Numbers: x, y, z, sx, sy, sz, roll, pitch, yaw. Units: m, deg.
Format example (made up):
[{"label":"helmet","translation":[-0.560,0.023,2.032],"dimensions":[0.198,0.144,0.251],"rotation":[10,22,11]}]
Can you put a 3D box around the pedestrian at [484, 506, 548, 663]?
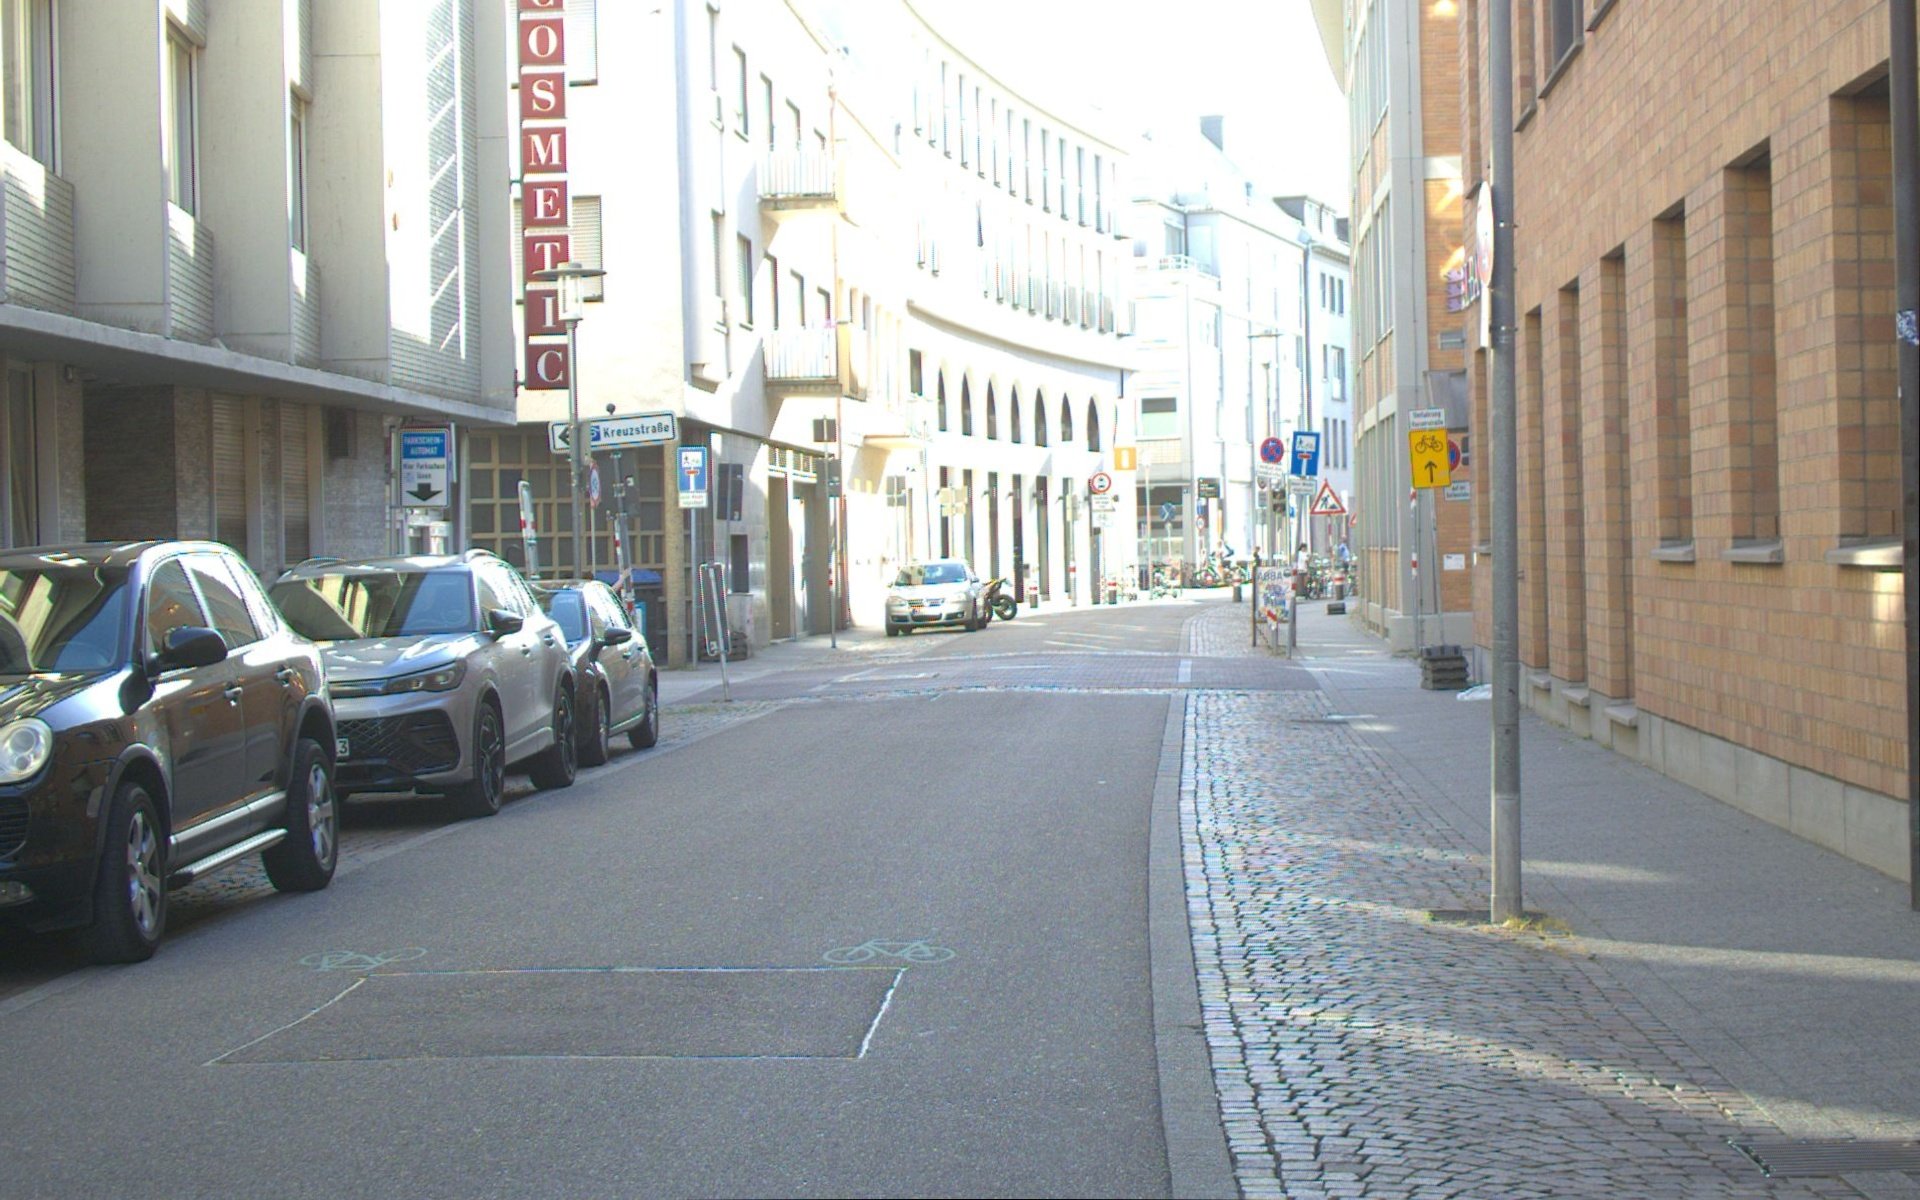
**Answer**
[{"label":"pedestrian","translation":[-4.957,-0.175,38.394],"dimensions":[0.448,1.732,0.552],"rotation":[0,1,27]}]

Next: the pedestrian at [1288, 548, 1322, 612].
[{"label":"pedestrian","translation":[10.048,-0.591,100.212],"dimensions":[0.659,1.862,0.786],"rotation":[1,0,-26]}]

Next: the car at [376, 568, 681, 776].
[{"label":"car","translation":[-3.440,0.529,28.074],"dimensions":[1.648,1.455,3.998],"rotation":[-4,1,4]}]

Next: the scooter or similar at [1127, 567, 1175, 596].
[{"label":"scooter or similar","translation":[6.300,-0.607,113.488],"dimensions":[0.526,0.925,2.223],"rotation":[1,1,34]}]

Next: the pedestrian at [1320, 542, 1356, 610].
[{"label":"pedestrian","translation":[10.459,-0.666,95.122],"dimensions":[0.659,1.862,0.761],"rotation":[1,0,-26]}]

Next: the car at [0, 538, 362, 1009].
[{"label":"car","translation":[-4.043,0.604,14.639],"dimensions":[1.890,1.670,4.553],"rotation":[-2,1,4]}]

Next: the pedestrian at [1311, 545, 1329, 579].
[{"label":"pedestrian","translation":[14.843,-1.577,141.622],"dimensions":[0.498,1.414,0.623],"rotation":[-1,1,-22]}]

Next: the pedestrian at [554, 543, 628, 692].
[{"label":"pedestrian","translation":[-4.061,0.189,37.852],"dimensions":[0.645,1.620,0.457],"rotation":[-1,1,-37]}]

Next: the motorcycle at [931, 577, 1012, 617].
[{"label":"motorcycle","translation":[0.256,-0.069,75.120],"dimensions":[1.692,0.856,0.594],"rotation":[1,0,9]}]

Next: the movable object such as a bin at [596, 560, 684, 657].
[{"label":"movable object such as a bin","translation":[-4.738,0.124,50.940],"dimensions":[0.931,1.415,0.884],"rotation":[1,0,-43]}]

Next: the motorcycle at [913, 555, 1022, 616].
[{"label":"motorcycle","translation":[0.177,-0.334,79.063],"dimensions":[2.391,1.312,0.862],"rotation":[-2,1,4]}]

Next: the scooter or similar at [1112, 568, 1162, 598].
[{"label":"scooter or similar","translation":[5.691,-0.562,110.430],"dimensions":[0.526,0.925,2.223],"rotation":[1,1,34]}]

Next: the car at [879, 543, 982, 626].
[{"label":"car","translation":[-0.553,-0.329,67.783],"dimensions":[1.737,1.600,3.532],"rotation":[0,1,5]}]

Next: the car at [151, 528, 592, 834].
[{"label":"car","translation":[-3.667,0.432,22.221],"dimensions":[1.890,1.736,4.390],"rotation":[-2,1,2]}]
